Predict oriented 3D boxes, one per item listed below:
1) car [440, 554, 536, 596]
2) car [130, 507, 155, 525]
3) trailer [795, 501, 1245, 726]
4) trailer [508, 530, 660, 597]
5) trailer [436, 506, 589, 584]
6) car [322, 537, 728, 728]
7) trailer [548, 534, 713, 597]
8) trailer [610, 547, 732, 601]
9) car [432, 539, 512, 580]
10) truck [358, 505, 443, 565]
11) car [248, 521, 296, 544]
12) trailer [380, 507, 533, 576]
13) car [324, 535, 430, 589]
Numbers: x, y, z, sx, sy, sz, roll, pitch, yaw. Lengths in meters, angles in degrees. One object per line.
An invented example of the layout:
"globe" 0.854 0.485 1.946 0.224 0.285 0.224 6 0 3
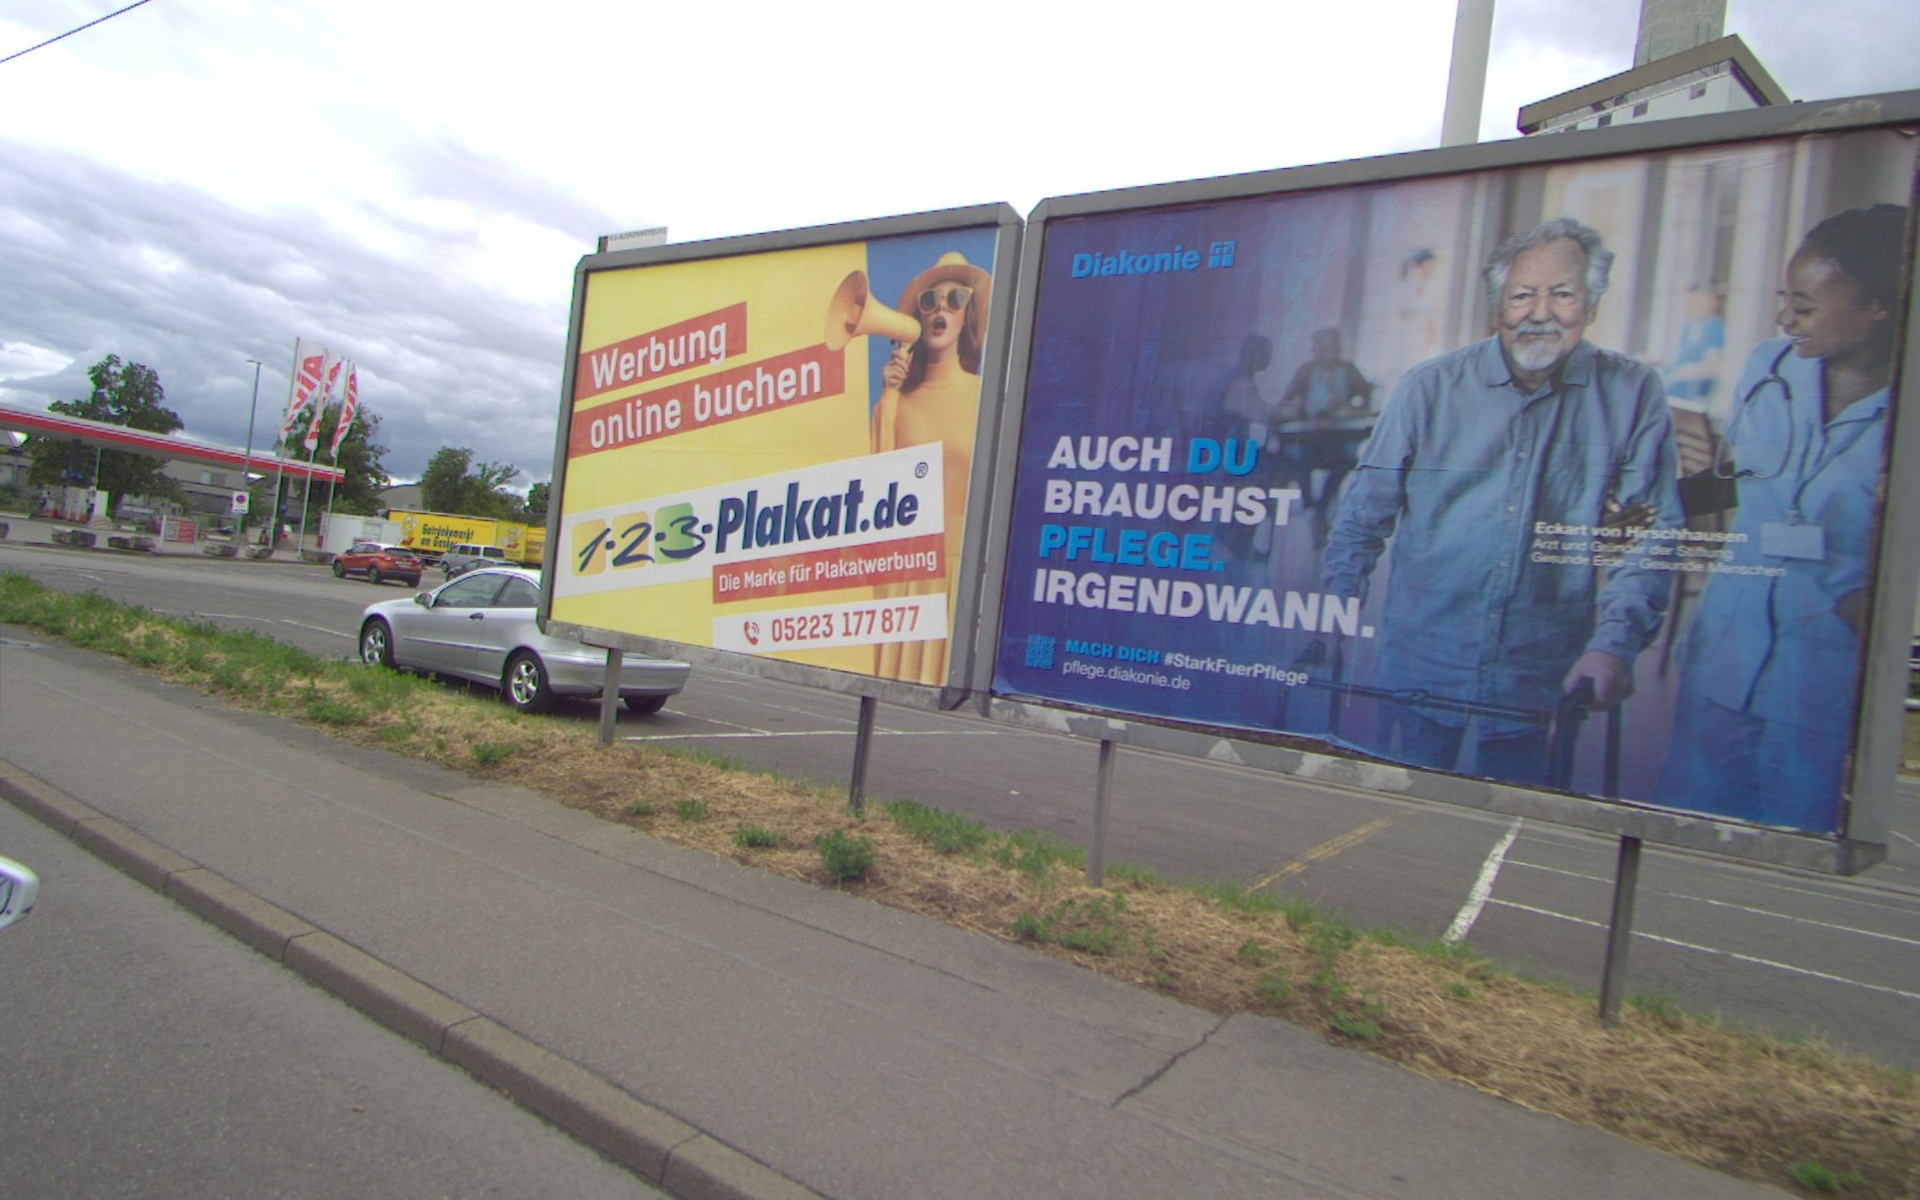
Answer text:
"car" -20.762 -1.105 44.232 4.145 1.408 1.766 7 1 31
"car" -87.240 -8.986 107.389 1.896 1.540 4.019 7 0 -39
"trailer" 1.029 0.068 23.802 10.239 4.018 2.957 7 1 34
"trailer" -32.854 -3.292 87.290 15.461 4.313 3.024 6 0 31
"trailer" -35.359 -4.402 79.072 14.062 4.781 3.004 6 0 31
"car" -4.961 0.309 11.297 4.483 1.481 1.777 7 -1 31
"trailer" -29.698 -3.212 89.872 17.768 3.963 2.694 6 0 31
"trailer" -28.427 -2.585 98.361 13.459 3.963 2.694 6 0 31
"car" -30.145 -2.491 62.112 4.868 1.935 1.987 7 0 31
"truck" -44.487 -5.179 79.971 5.939 3.963 2.961 7 0 31
"car" -66.345 -6.506 96.960 4.576 1.665 1.965 6 0 31
"trailer" -38.418 -4.495 76.346 14.062 3.963 3.004 6 0 31
"car" -23.271 -1.523 40.127 4.145 1.589 1.768 7 -2 31
